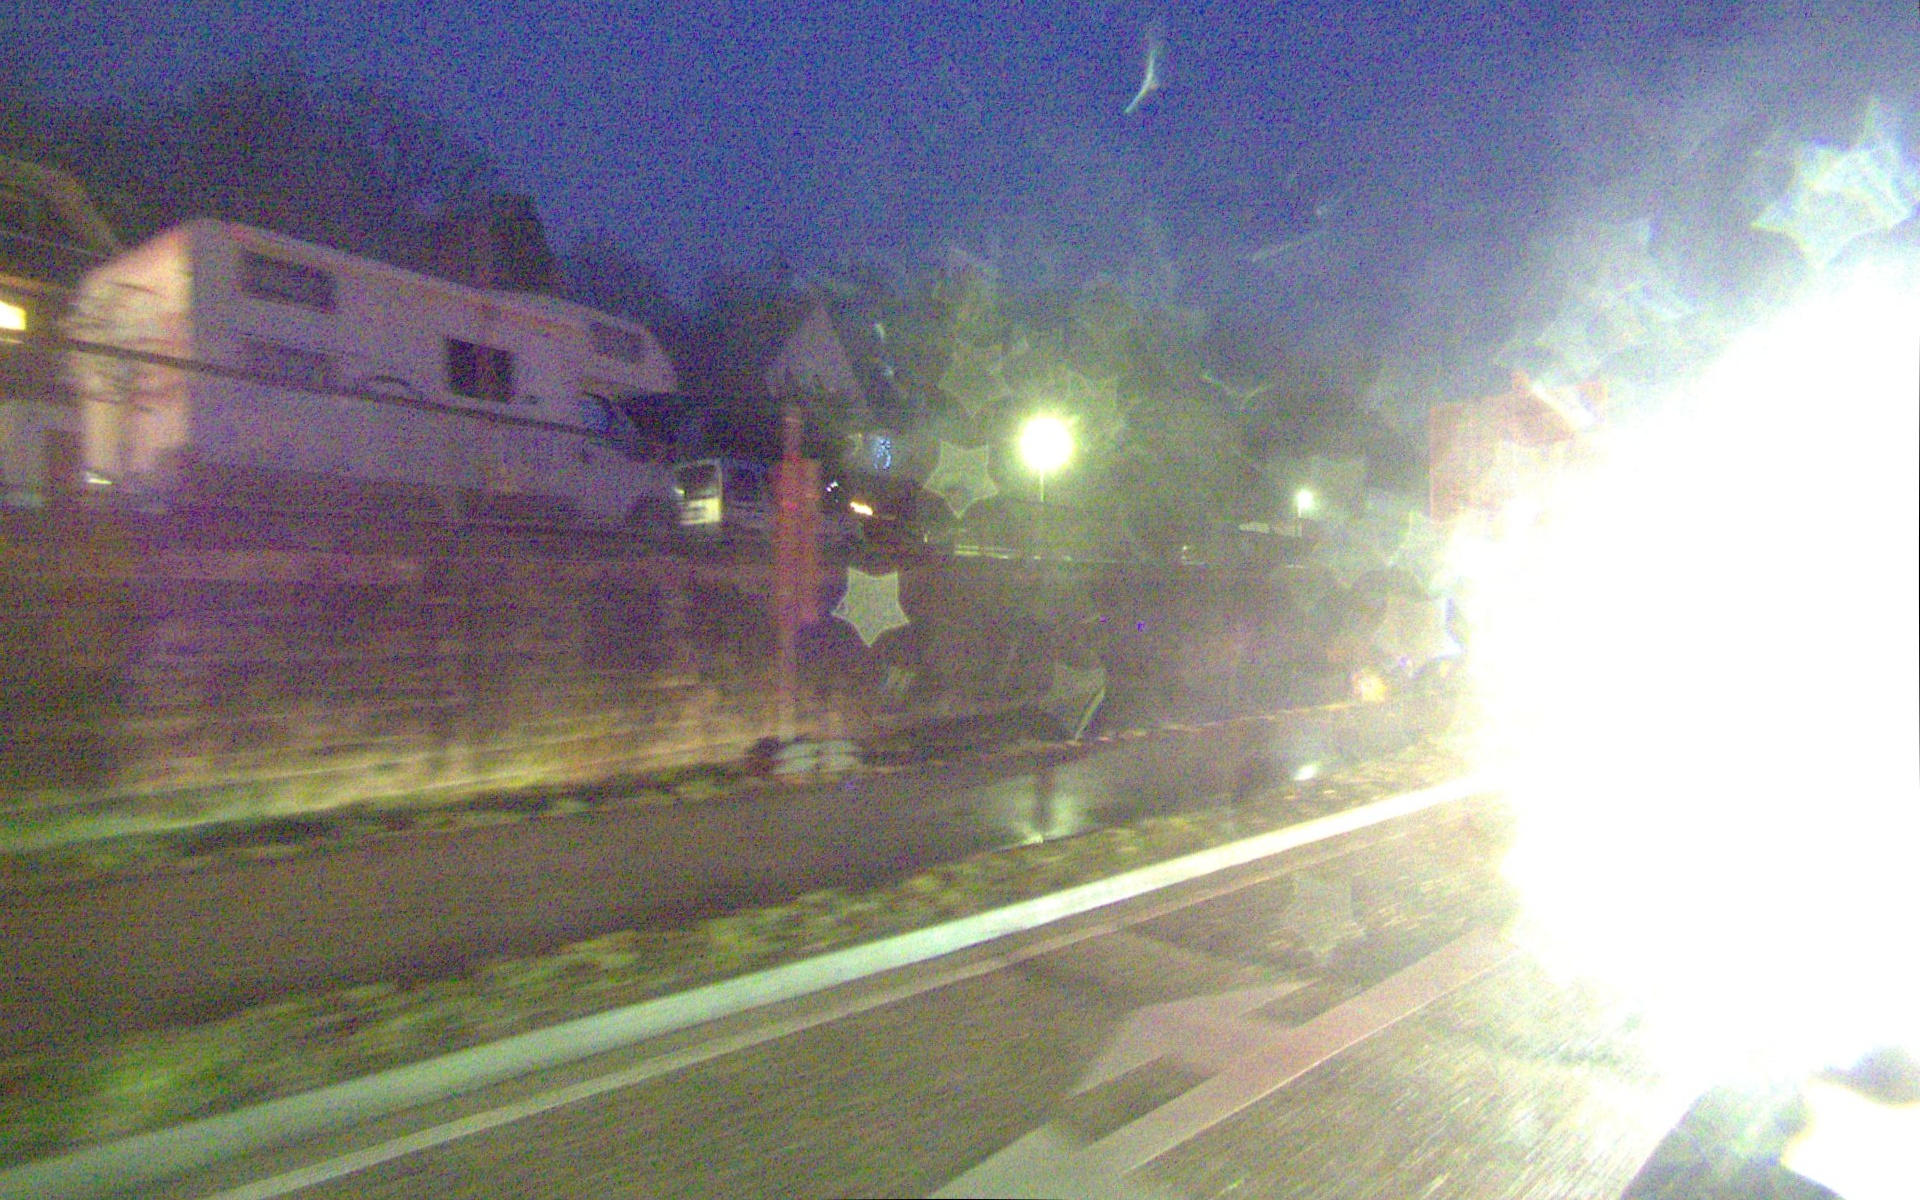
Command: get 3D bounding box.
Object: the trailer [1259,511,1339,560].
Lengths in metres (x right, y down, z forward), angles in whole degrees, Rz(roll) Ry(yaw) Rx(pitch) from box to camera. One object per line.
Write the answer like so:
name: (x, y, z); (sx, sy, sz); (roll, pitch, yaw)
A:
trailer: (16.645, -3.100, 49.477); (2.218, 2.097, 5.650); (1, 1, 34)

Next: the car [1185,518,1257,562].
car: (10.208, -2.285, 39.394); (1.606, 1.491, 3.954); (1, 1, 32)

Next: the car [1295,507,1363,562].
car: (19.740, -3.422, 54.040); (2.107, 2.668, 5.383); (1, 1, 34)

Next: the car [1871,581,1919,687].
car: (18.544, 0.605, 18.919); (4.628, 1.841, 1.758); (1, -1, -42)

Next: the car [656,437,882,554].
car: (-3.247, -1.722, 17.943); (1.628, 1.638, 4.088); (1, 0, 31)

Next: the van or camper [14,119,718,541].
van or camper: (-5.856, -2.278, 11.203); (2.567, 2.944, 6.291); (1, 1, 30)

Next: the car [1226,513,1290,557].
car: (12.745, -2.710, 43.147); (1.606, 1.660, 3.954); (1, 1, 32)
